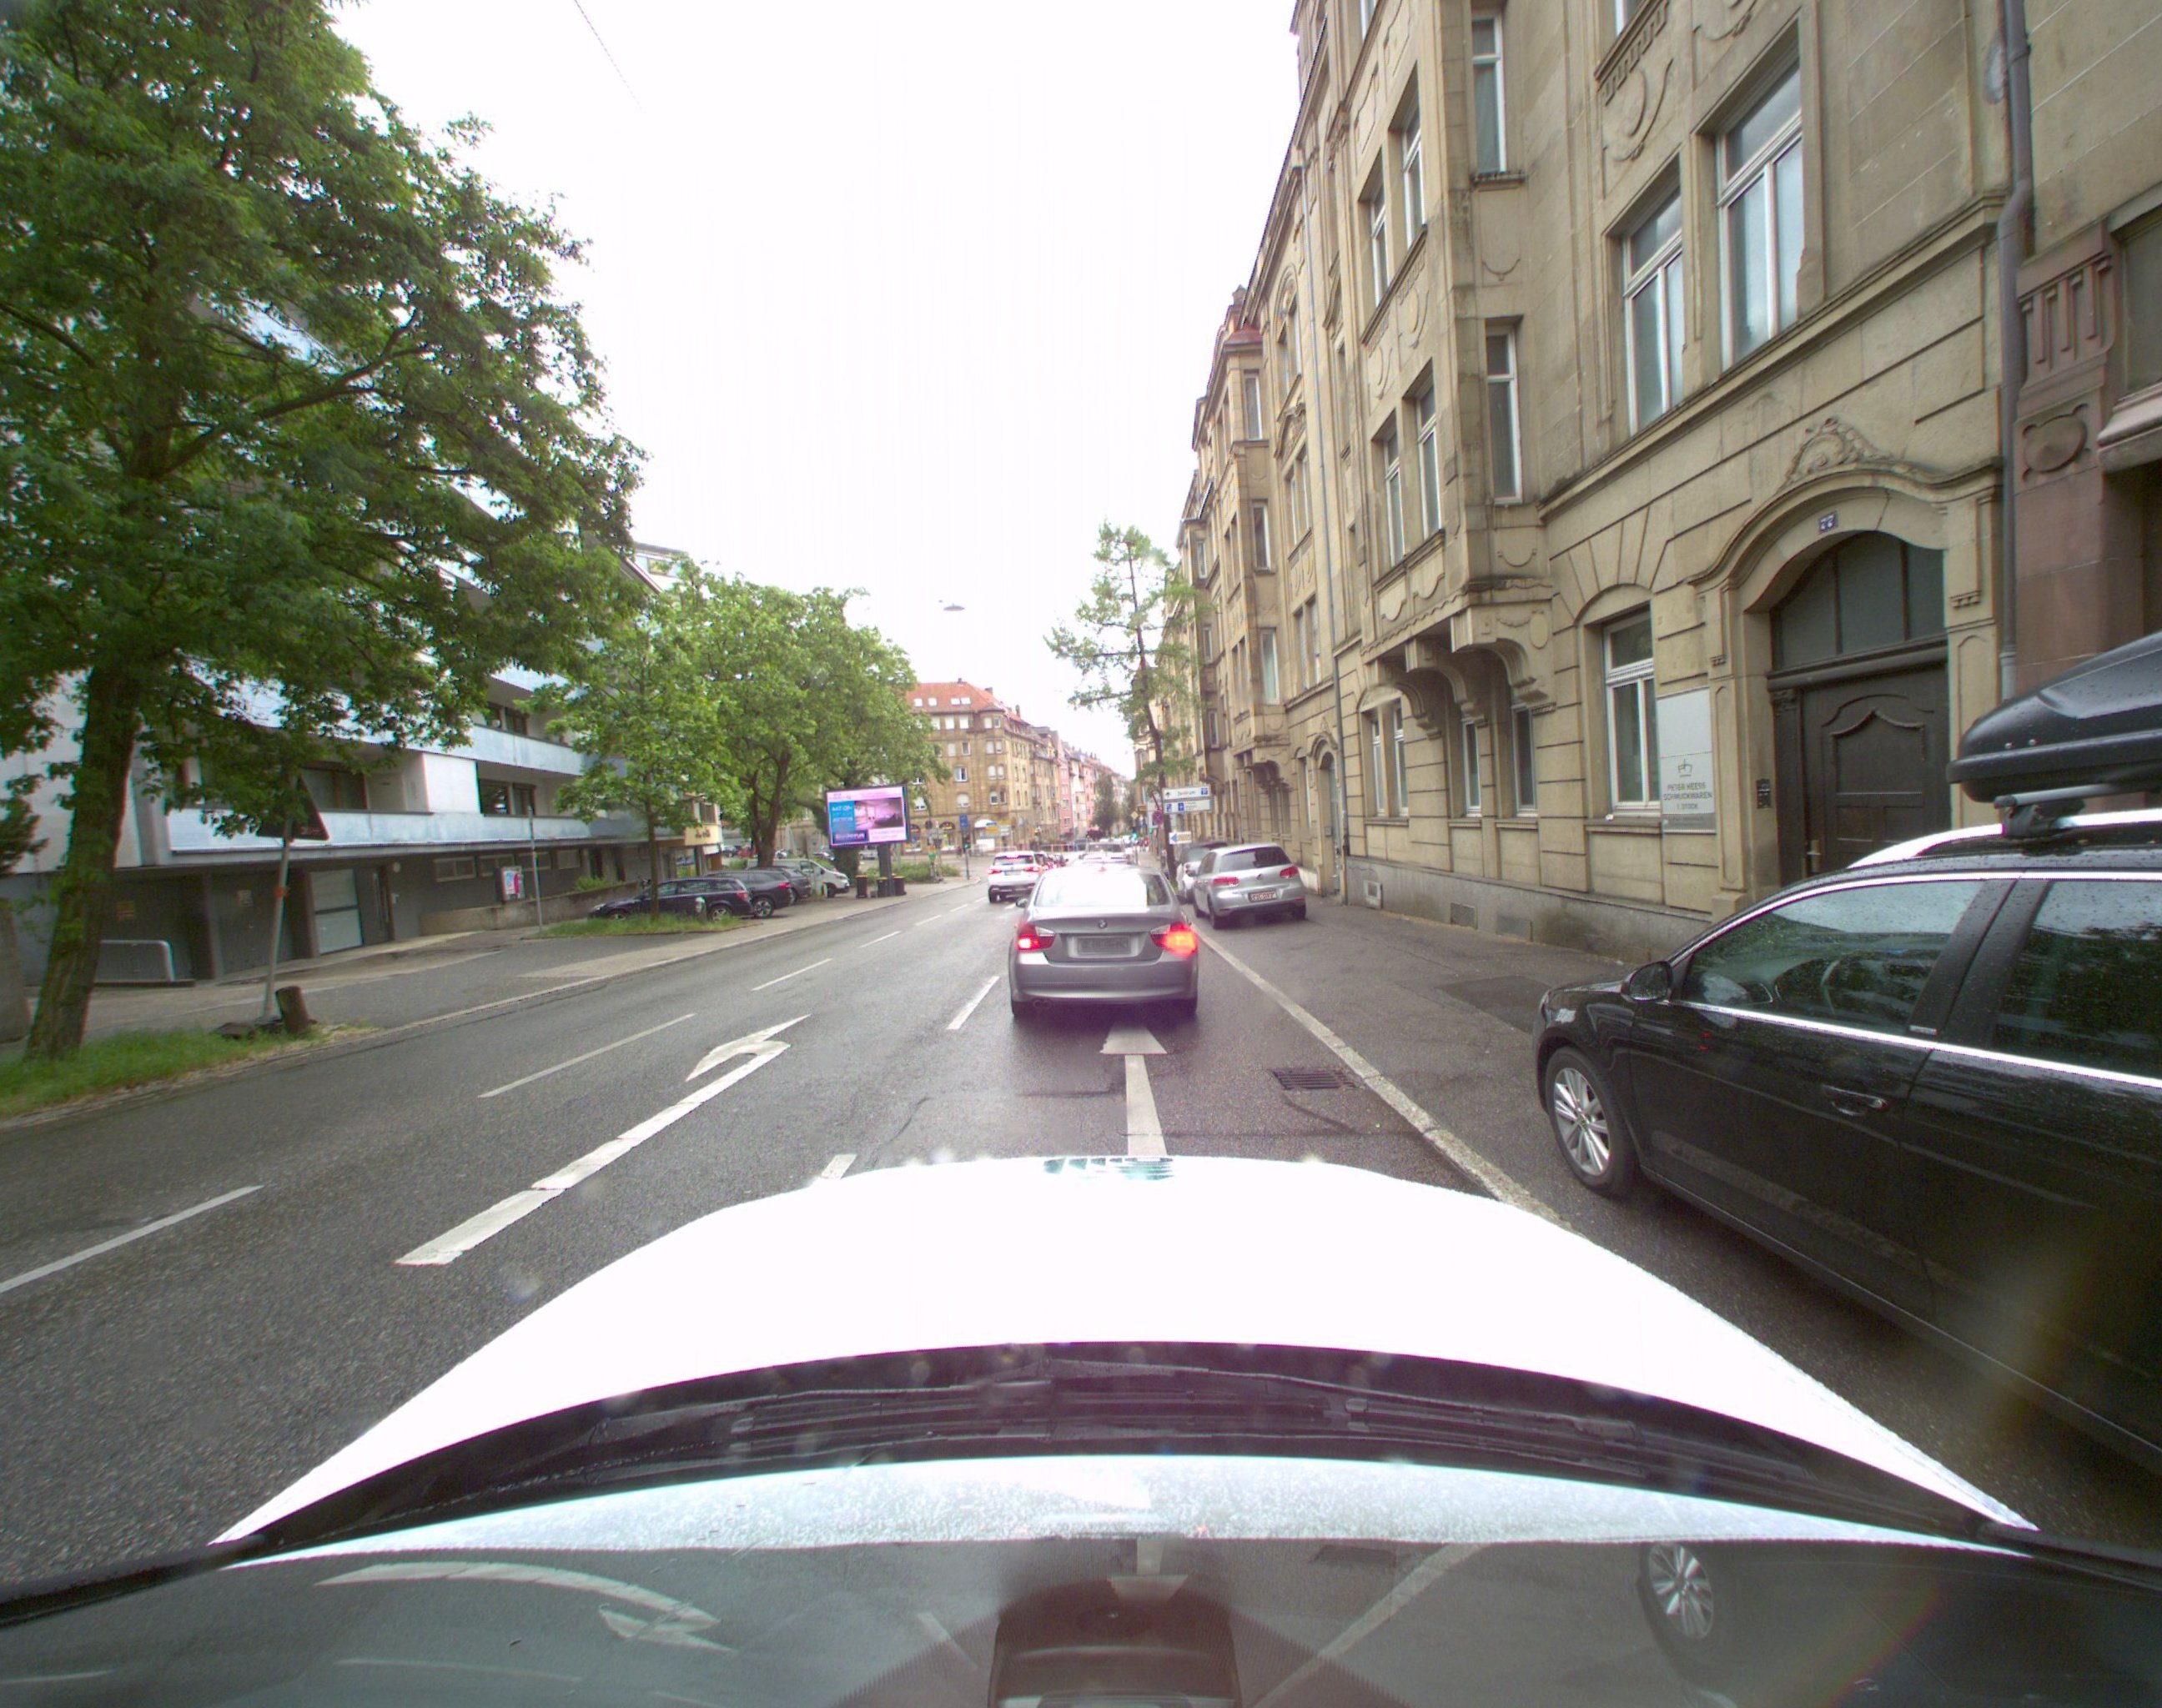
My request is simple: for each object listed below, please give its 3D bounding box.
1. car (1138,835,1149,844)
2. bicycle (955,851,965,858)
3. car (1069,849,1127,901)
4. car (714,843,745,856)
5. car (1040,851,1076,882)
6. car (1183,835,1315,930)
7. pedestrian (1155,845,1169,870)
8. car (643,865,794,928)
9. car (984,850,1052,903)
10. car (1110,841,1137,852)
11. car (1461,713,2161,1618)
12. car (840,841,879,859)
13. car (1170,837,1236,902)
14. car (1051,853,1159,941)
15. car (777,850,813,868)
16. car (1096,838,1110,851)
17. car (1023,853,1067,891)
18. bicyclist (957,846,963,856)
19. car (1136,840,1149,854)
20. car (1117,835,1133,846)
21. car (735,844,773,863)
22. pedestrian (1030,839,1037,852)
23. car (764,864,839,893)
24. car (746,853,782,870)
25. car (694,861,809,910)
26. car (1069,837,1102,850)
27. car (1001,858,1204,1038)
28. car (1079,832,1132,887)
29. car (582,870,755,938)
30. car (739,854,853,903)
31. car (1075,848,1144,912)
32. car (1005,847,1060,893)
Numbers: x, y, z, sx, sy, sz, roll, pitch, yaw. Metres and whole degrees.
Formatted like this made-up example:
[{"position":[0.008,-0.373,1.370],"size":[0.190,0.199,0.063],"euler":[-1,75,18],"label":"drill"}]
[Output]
[{"position":[9.047,-2.113,118.305],"size":[1.429,1.174,3.435],"euler":[0,0,1],"label":"car"},{"position":[-14.392,0.038,96.942],"size":[0.569,0.858,1.527],"euler":[-1,-1,12],"label":"bicycle"},{"position":[0.633,0.655,27.548],"size":[1.752,1.567,4.003],"euler":[-2,0,3],"label":"car"},{"position":[-47.023,-0.577,109.075],"size":[3.949,1.689,1.738],"euler":[-1,-1,29],"label":"car"},{"position":[-1.307,0.707,48.539],"size":[1.752,1.707,4.003],"euler":[-2,0,3],"label":"car"},{"position":[3.208,0.493,16.310],"size":[1.753,1.451,4.001],"euler":[-7,0,1],"label":"car"},{"position":[5.233,0.240,52.644],"size":[0.629,1.508,0.693],"euler":[-7,0,1],"label":"pedestrian"},{"position":[-12.032,1.374,27.350],"size":[4.382,1.672,1.842],"euler":[-4,0,-21],"label":"car"},{"position":[-2.092,0.696,27.945],"size":[1.861,1.625,4.001],"euler":[-2,0,1],"label":"car"},{"position":[5.952,-1.041,113.969],"size":[1.974,1.578,4.025],"euler":[-1,-1,34],"label":"car"},{"position":[2.777,0.471,1.983],"size":[1.753,1.651,4.101],"euler":[-7,0,2],"label":"car"},{"position":[-26.549,-0.479,97.526],"size":[4.238,2.101,2.013],"euler":[0,2,30],"label":"car"},{"position":[3.332,0.406,22.715],"size":[1.295,1.543,2.977],"euler":[-7,0,1],"label":"car"},{"position":[0.500,0.712,15.502],"size":[1.752,1.383,4.003],"euler":[-2,0,3],"label":"car"},{"position":[-36.402,0.639,103.545],"size":[4.238,2.101,2.013],"euler":[0,2,30],"label":"car"},{"position":[2.784,-1.206,104.905],"size":[1.709,1.450,3.743],"euler":[-3,0,1],"label":"car"},{"position":[-1.738,0.870,40.662],"size":[1.752,1.707,4.003],"euler":[-2,0,3],"label":"car"},{"position":[-14.403,-0.345,96.968],"size":[0.565,1.273,0.692],"euler":[-1,-1,13],"label":"bicyclist"},{"position":[9.566,-1.107,126.726],"size":[1.679,2.013,4.002],"euler":[-4,0,2],"label":"car"},{"position":[6.569,-2.015,120.648],"size":[1.983,1.578,4.008],"euler":[0,-1,7],"label":"car"},{"position":[-40.836,-0.051,101.687],"size":[3.954,2.013,2.010],"euler":[-4,0,18],"label":"car"},{"position":[-5.908,-1.034,101.806],"size":[0.727,1.577,0.530],"euler":[-3,0,10],"label":"pedestrian"},{"position":[-16.234,1.423,47.363],"size":[3.985,1.450,1.758],"euler":[-3,0,-19],"label":"car"},{"position":[-41.189,0.988,105.734],"size":[4.238,2.101,2.013],"euler":[0,2,30],"label":"car"},{"position":[-13.958,1.316,34.755],"size":[4.370,1.784,1.927],"euler":[-3,0,-19],"label":"car"},{"position":[0.703,-1.679,130.181],"size":[5.158,2.014,2.699],"euler":[0,-1,1],"label":"car"},{"position":[0.271,0.787,8.500],"size":[1.617,1.383,3.618],"euler":[-2,0,3],"label":"car"},{"position":[1.022,0.215,33.472],"size":[1.986,2.106,4.002],"euler":[-2,0,2],"label":"car"},{"position":[-12.262,1.441,24.558],"size":[4.373,1.574,1.930],"euler":[-4,0,-21],"label":"car"},{"position":[-13.905,1.169,39.990],"size":[5.076,2.105,1.979],"euler":[-3,0,-19],"label":"car"},{"position":[0.754,0.597,20.790],"size":[1.588,1.464,4.003],"euler":[0,0,3],"label":"car"},{"position":[-1.909,0.603,33.331],"size":[1.752,1.707,4.003],"euler":[-2,0,3],"label":"car"}]
